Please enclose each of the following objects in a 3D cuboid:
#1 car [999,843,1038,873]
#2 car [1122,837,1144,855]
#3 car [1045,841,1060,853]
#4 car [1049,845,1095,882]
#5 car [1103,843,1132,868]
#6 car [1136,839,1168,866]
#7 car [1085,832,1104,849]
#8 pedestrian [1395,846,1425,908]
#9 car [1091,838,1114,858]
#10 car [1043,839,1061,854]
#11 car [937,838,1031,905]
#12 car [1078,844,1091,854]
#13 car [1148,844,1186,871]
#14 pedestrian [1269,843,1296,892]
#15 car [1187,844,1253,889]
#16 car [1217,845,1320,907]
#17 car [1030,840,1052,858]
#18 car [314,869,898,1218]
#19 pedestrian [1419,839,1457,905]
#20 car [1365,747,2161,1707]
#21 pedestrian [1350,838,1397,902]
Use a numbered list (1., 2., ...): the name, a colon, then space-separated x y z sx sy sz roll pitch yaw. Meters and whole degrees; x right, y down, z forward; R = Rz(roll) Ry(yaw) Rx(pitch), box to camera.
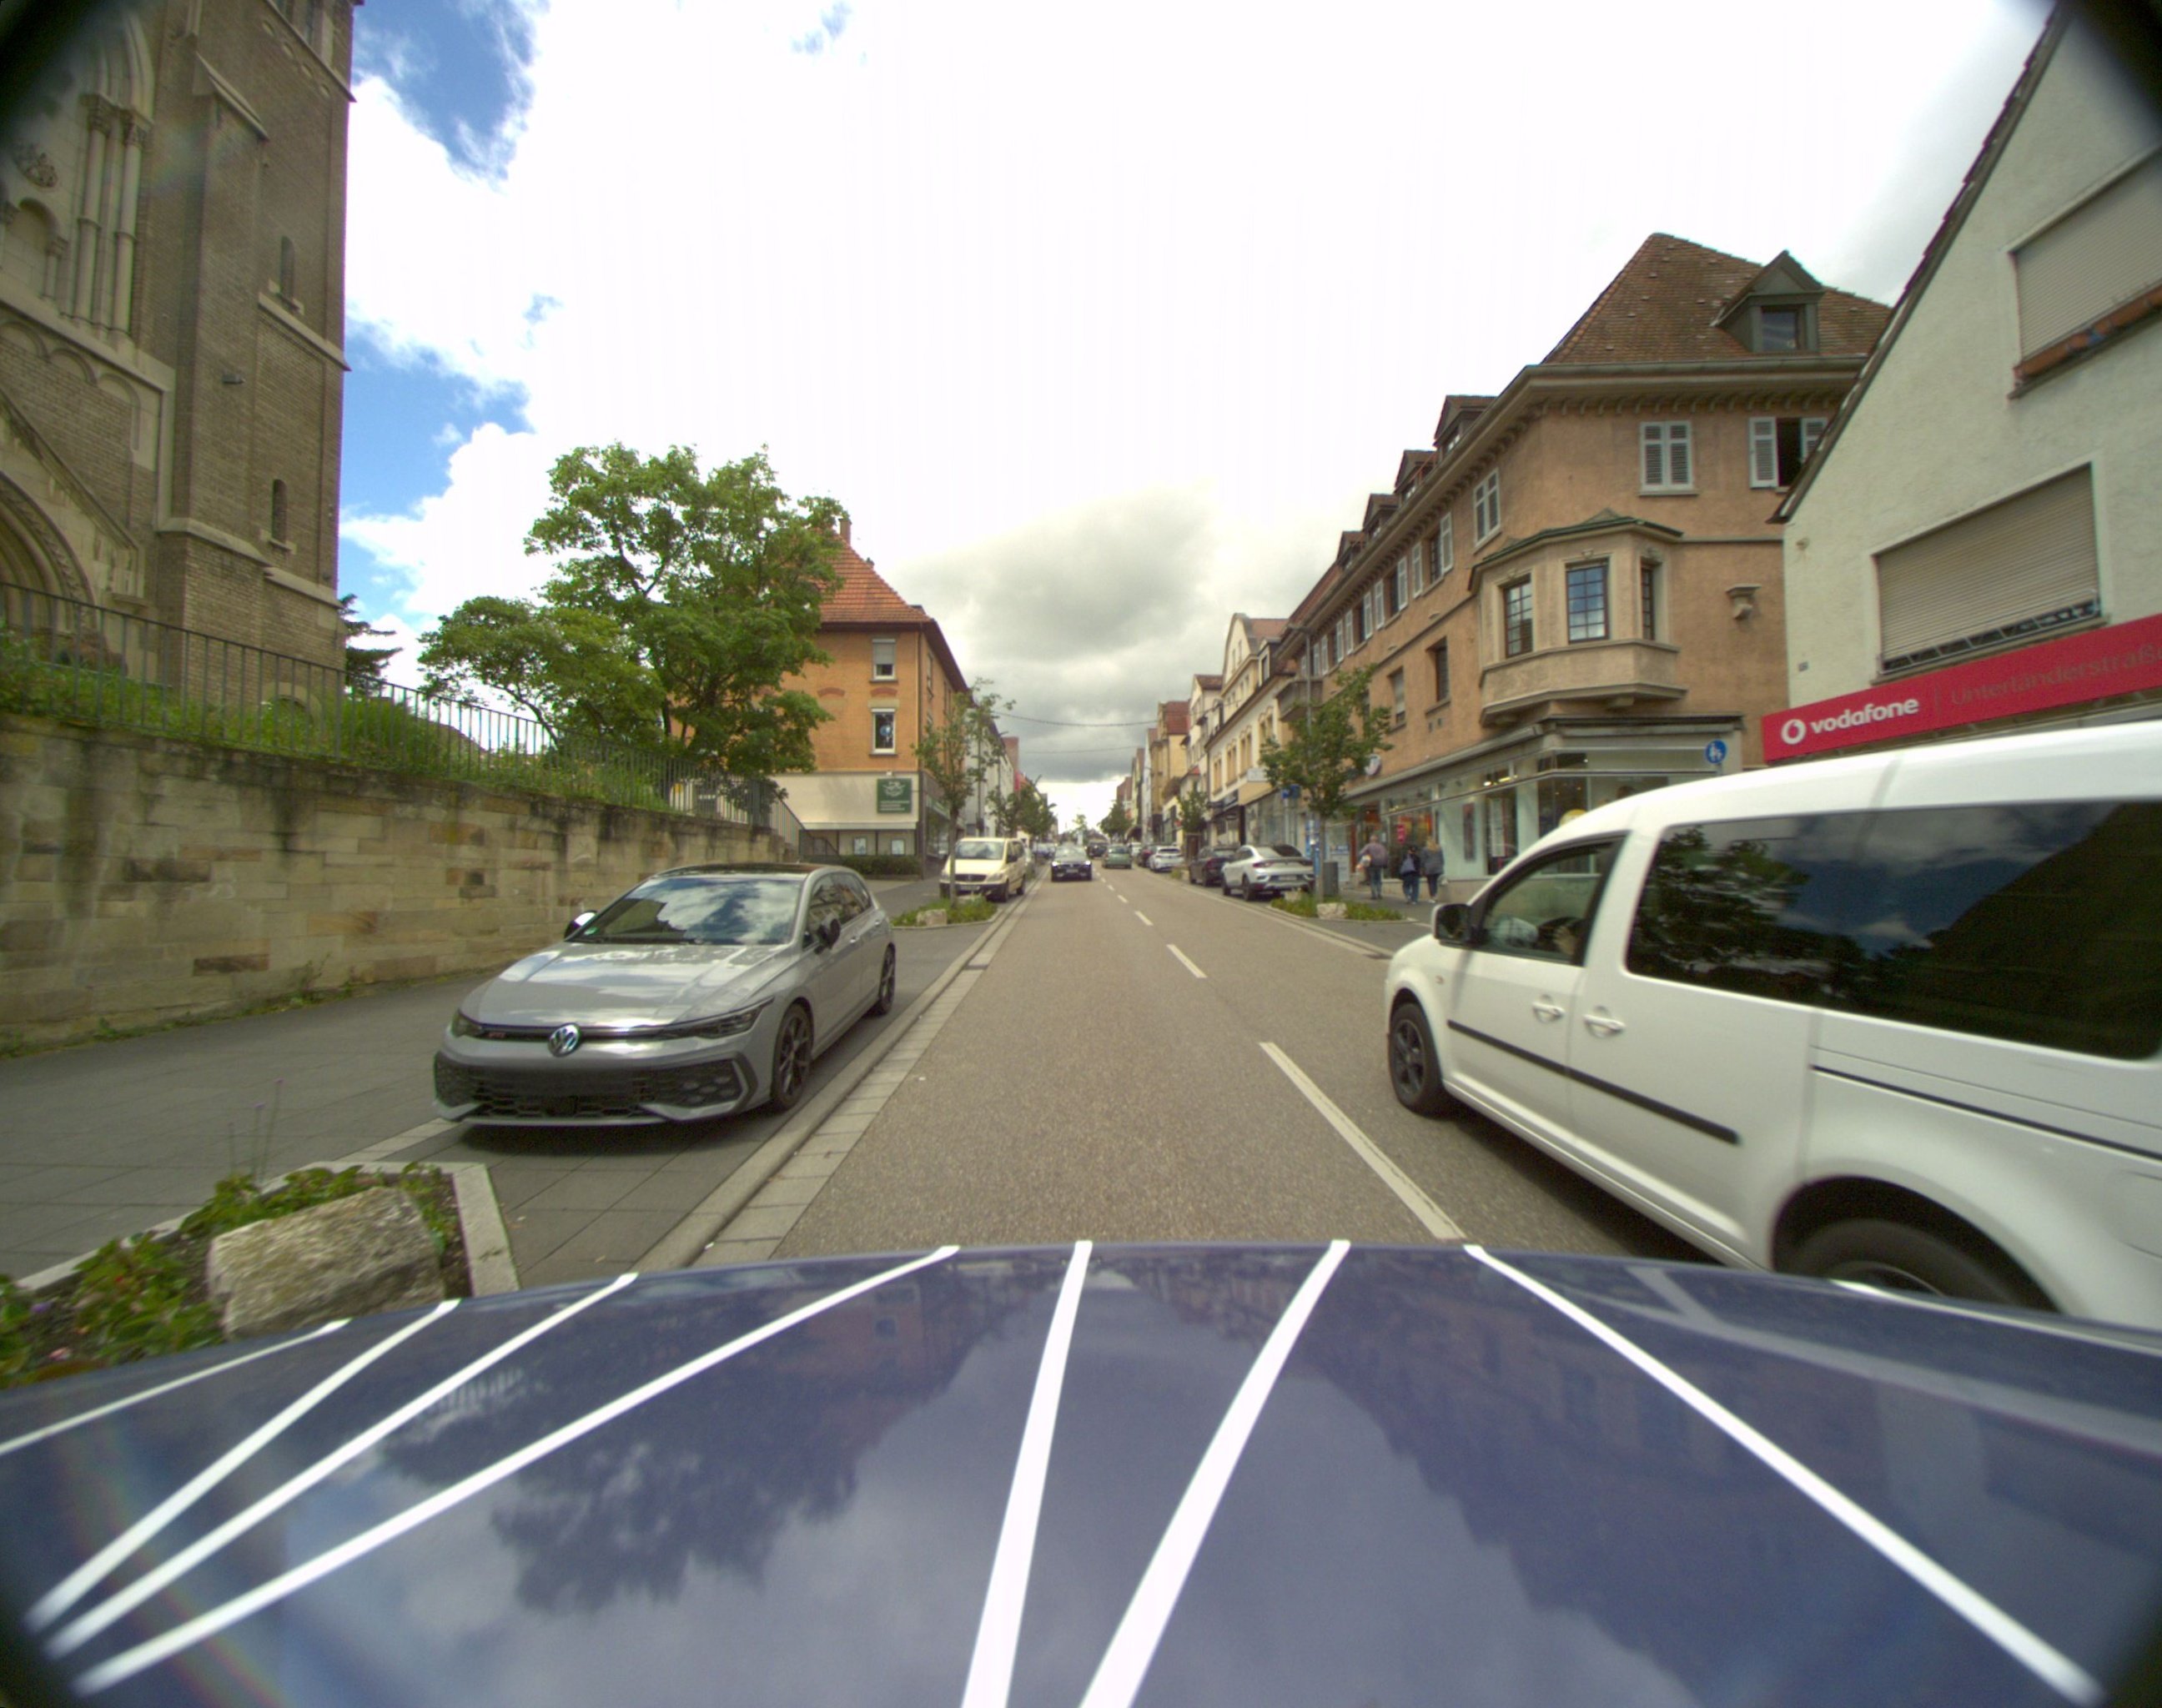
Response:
1. car: -3.279 0.193 40.667 1.816 1.439 3.944 2 1 -1
2. car: 4.606 -0.714 67.978 1.690 1.516 3.528 0 1 0
3. car: -3.456 -0.833 91.251 1.690 1.365 3.528 0 1 0
4. car: -0.400 0.388 34.661 1.894 1.516 3.734 -2 1 0
5. car: 2.318 0.059 49.143 1.686 1.492 4.152 0 1 -1
6. car: 4.634 -0.105 50.190 1.732 1.670 3.991 -1 1 0
7. car: 1.415 -1.429 80.882 1.894 1.670 3.734 1 1 0
8. pedestrian: 8.001 0.546 18.482 0.497 1.469 0.528 -1 2 -2
9. car: 1.888 -0.536 67.572 1.830 1.680 3.858 0 1 -1
10. car: -2.949 -0.792 77.868 1.774 1.516 3.528 0 1 0
11. car: -2.814 0.429 23.302 1.889 1.837 5.031 0 1 4
12. car: 0.512 -0.691 102.896 1.690 1.403 3.528 0 1 0
13. car: 4.863 0.150 43.154 1.732 1.423 3.502 -1 1 0
14. pedestrian: 6.794 0.448 25.672 0.629 1.564 0.650 -4 1 -1
15. car: 5.305 0.429 29.523 1.668 1.517 3.962 -2 1 -2
16. car: 5.290 0.547 22.060 1.730 1.564 4.453 -1 1 -2
17. car: -3.504 -0.462 67.449 1.774 1.516 3.528 0 1 0
18. car: -2.647 0.910 5.520 1.759 1.433 4.088 0 1 -2
19. pedestrian: 8.700 0.434 18.528 0.615 1.573 0.642 -1 2 -2
20. car: 2.701 0.720 2.801 1.750 1.792 4.212 1 1 1
21. pedestrian: 7.781 0.404 20.237 0.872 1.657 0.906 -1 2 -2
